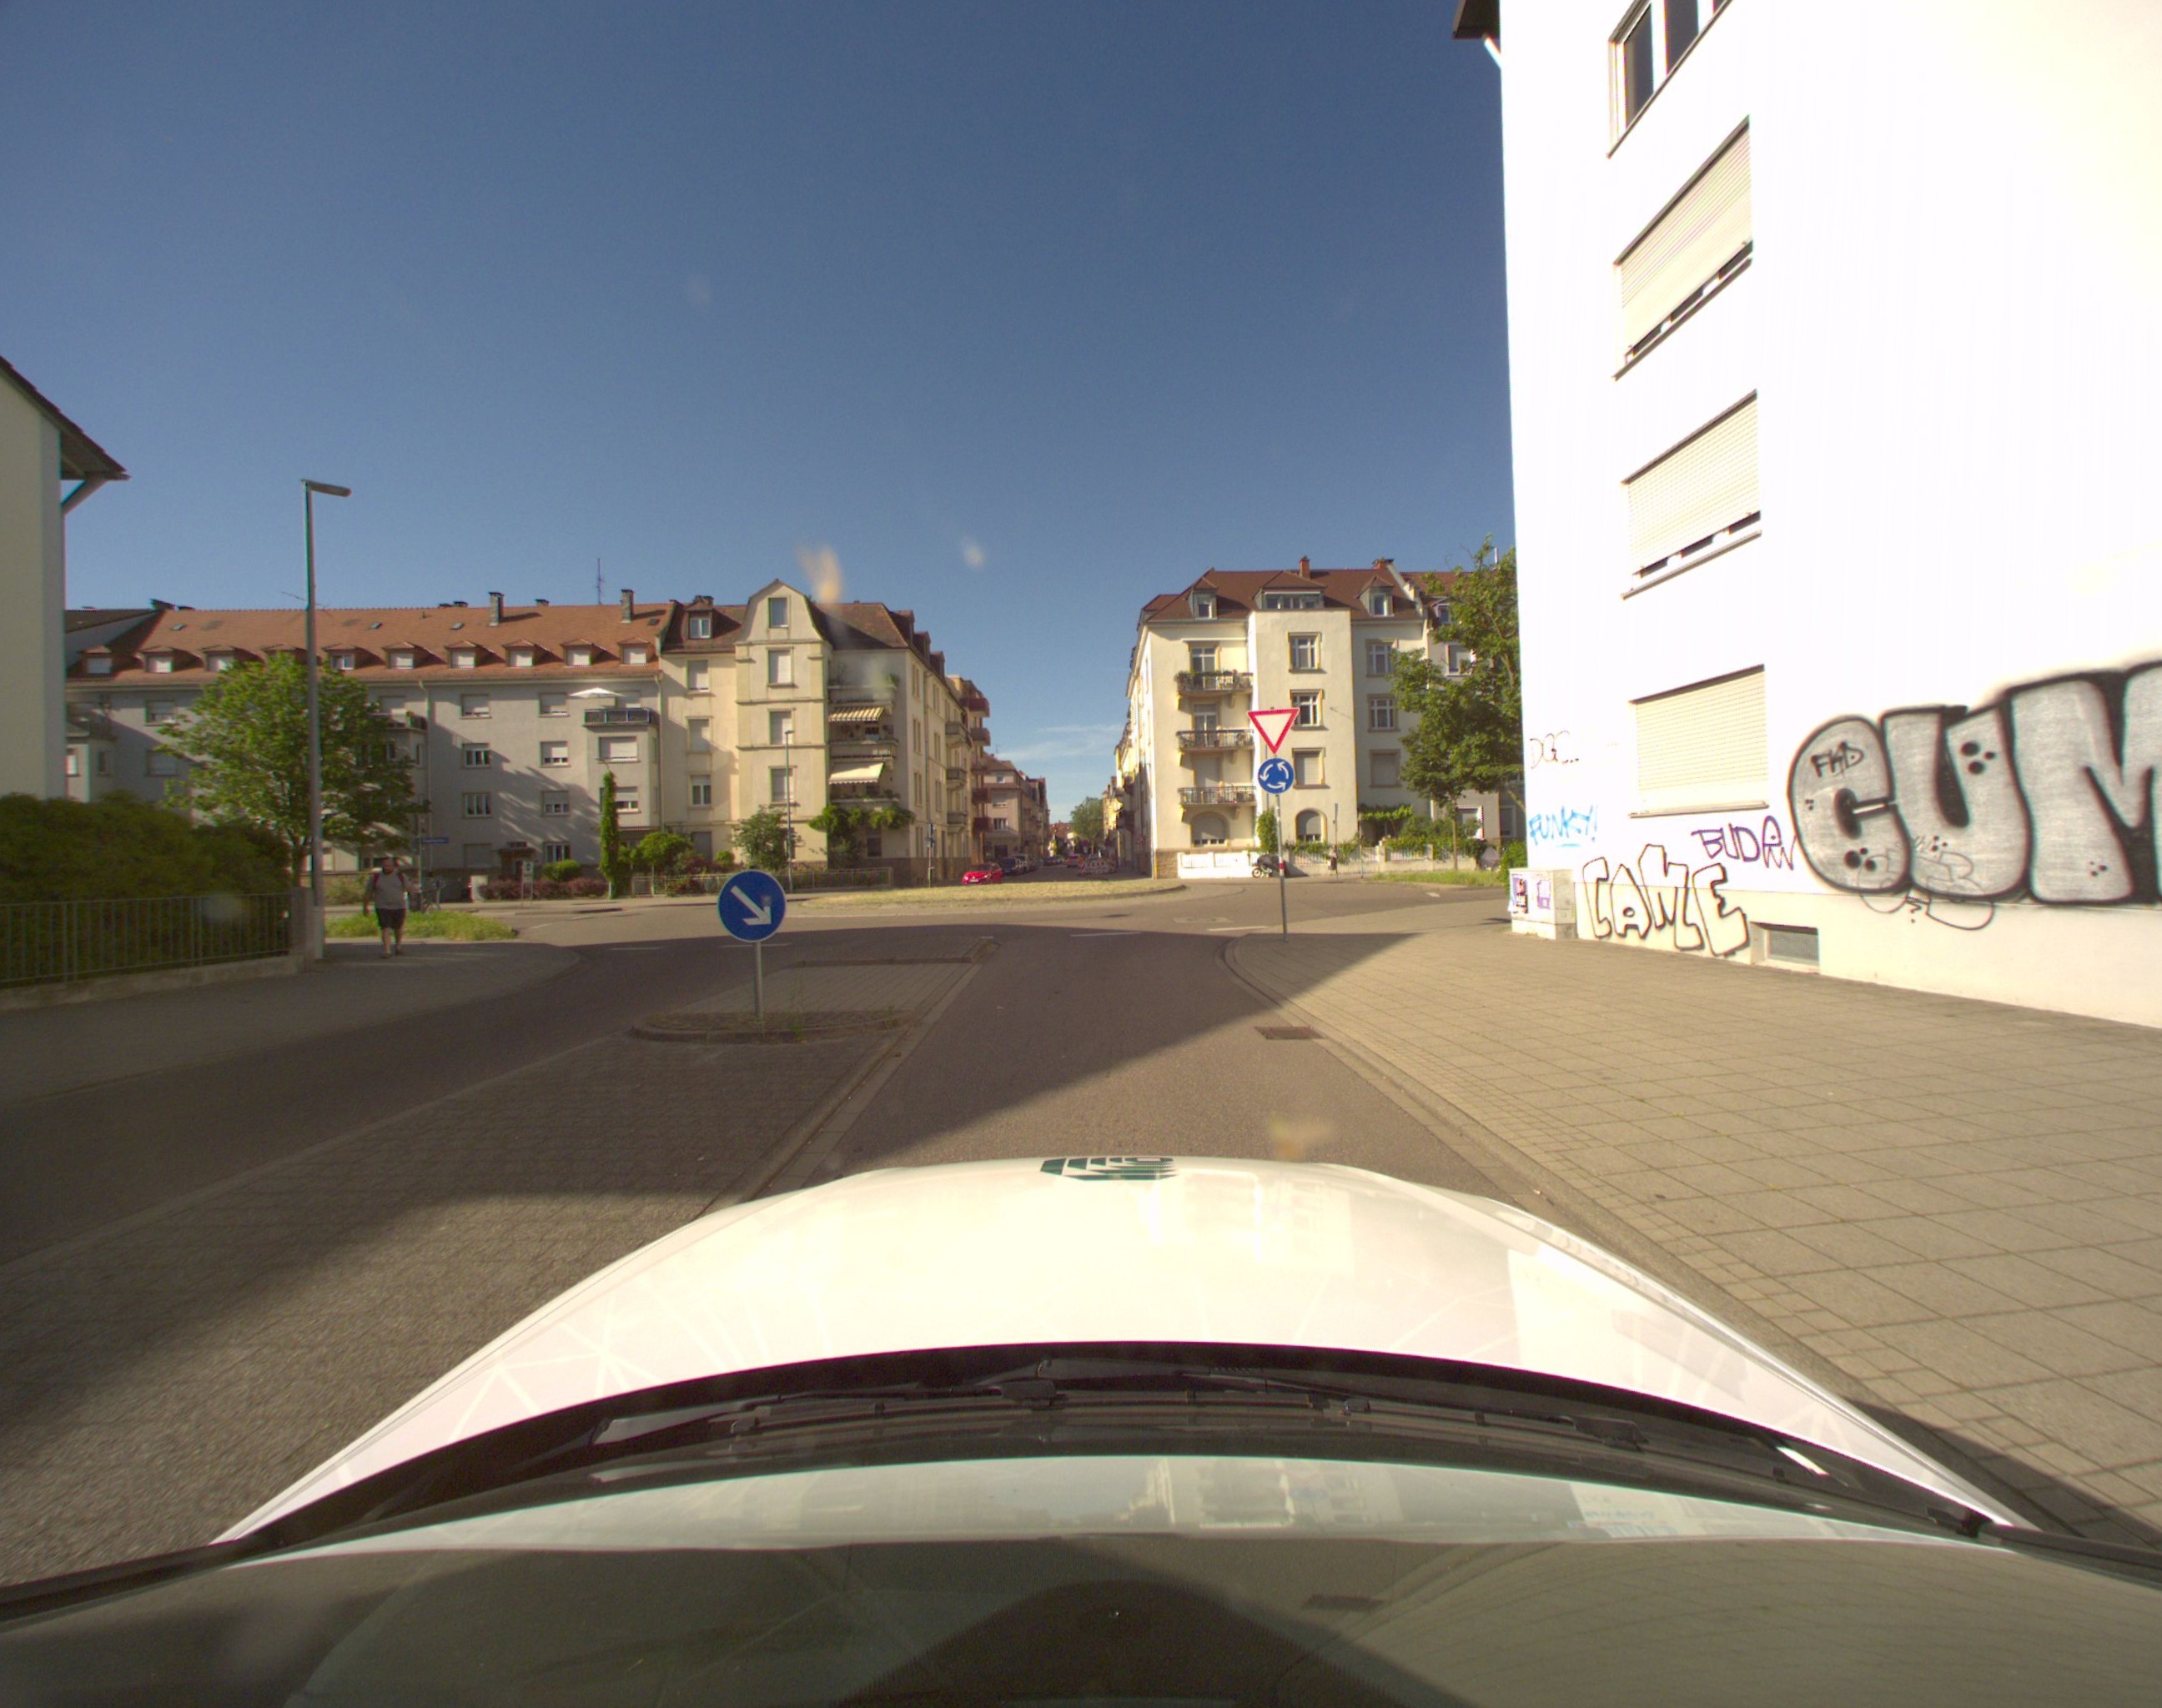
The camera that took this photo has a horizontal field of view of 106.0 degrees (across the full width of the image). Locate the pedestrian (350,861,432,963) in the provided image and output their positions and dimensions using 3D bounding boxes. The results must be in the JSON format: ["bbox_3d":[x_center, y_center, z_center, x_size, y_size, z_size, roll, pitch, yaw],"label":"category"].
[{"bbox_3d":[-12.079,0.980,14.256,0.984,1.705,0.825,-1,-1,32],"label":"pedestrian"}]

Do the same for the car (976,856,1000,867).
[{"bbox_3d":[-13.290,1.091,116.638,1.714,1.438,3.488,-1,1,-43],"label":"car"}]

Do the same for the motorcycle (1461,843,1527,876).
[{"bbox_3d":[17.409,0.232,34.437,1.122,1.267,2.777,-2,0,-6],"label":"motorcycle"}]

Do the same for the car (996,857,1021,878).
[{"bbox_3d":[-6.224,1.134,70.631,1.757,1.771,4.294,-1,0,0],"label":"car"}]

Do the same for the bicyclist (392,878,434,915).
[{"bbox_3d":[-24.310,1.538,29.644,0.817,1.312,0.814,-1,-1,10],"label":"bicyclist"}]

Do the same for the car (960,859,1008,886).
[{"bbox_3d":[-5.822,1.102,49.218,1.701,1.382,4.012,-3,1,10],"label":"car"}]

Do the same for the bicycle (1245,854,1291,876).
[{"bbox_3d":[9.971,0.593,43.482,2.257,1.157,0.771,-1,-1,43],"label":"bicycle"}]

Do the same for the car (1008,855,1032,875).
[{"bbox_3d":[-6.135,1.068,81.945,1.969,1.925,5.309,-1,0,0],"label":"car"}]

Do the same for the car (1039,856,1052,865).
[{"bbox_3d":[-5.496,0.997,126.556,1.673,1.426,4.276,1,-1,2],"label":"car"}]

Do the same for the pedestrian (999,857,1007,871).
[{"bbox_3d":[-9.893,1.254,103.156,0.922,1.817,0.993,-1,-1,-3],"label":"pedestrian"}]

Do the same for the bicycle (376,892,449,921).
[{"bbox_3d":[-24.318,1.907,29.640,2.189,1.014,0.813,-1,0,10],"label":"bicycle"}]

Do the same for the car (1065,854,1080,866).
[{"bbox_3d":[-1.088,0.836,106.990,1.832,1.431,4.029,-3,-2,1],"label":"car"}]

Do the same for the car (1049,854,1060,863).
[{"bbox_3d":[-5.076,0.900,157.965,1.997,1.619,4.486,1,-1,0],"label":"car"}]
